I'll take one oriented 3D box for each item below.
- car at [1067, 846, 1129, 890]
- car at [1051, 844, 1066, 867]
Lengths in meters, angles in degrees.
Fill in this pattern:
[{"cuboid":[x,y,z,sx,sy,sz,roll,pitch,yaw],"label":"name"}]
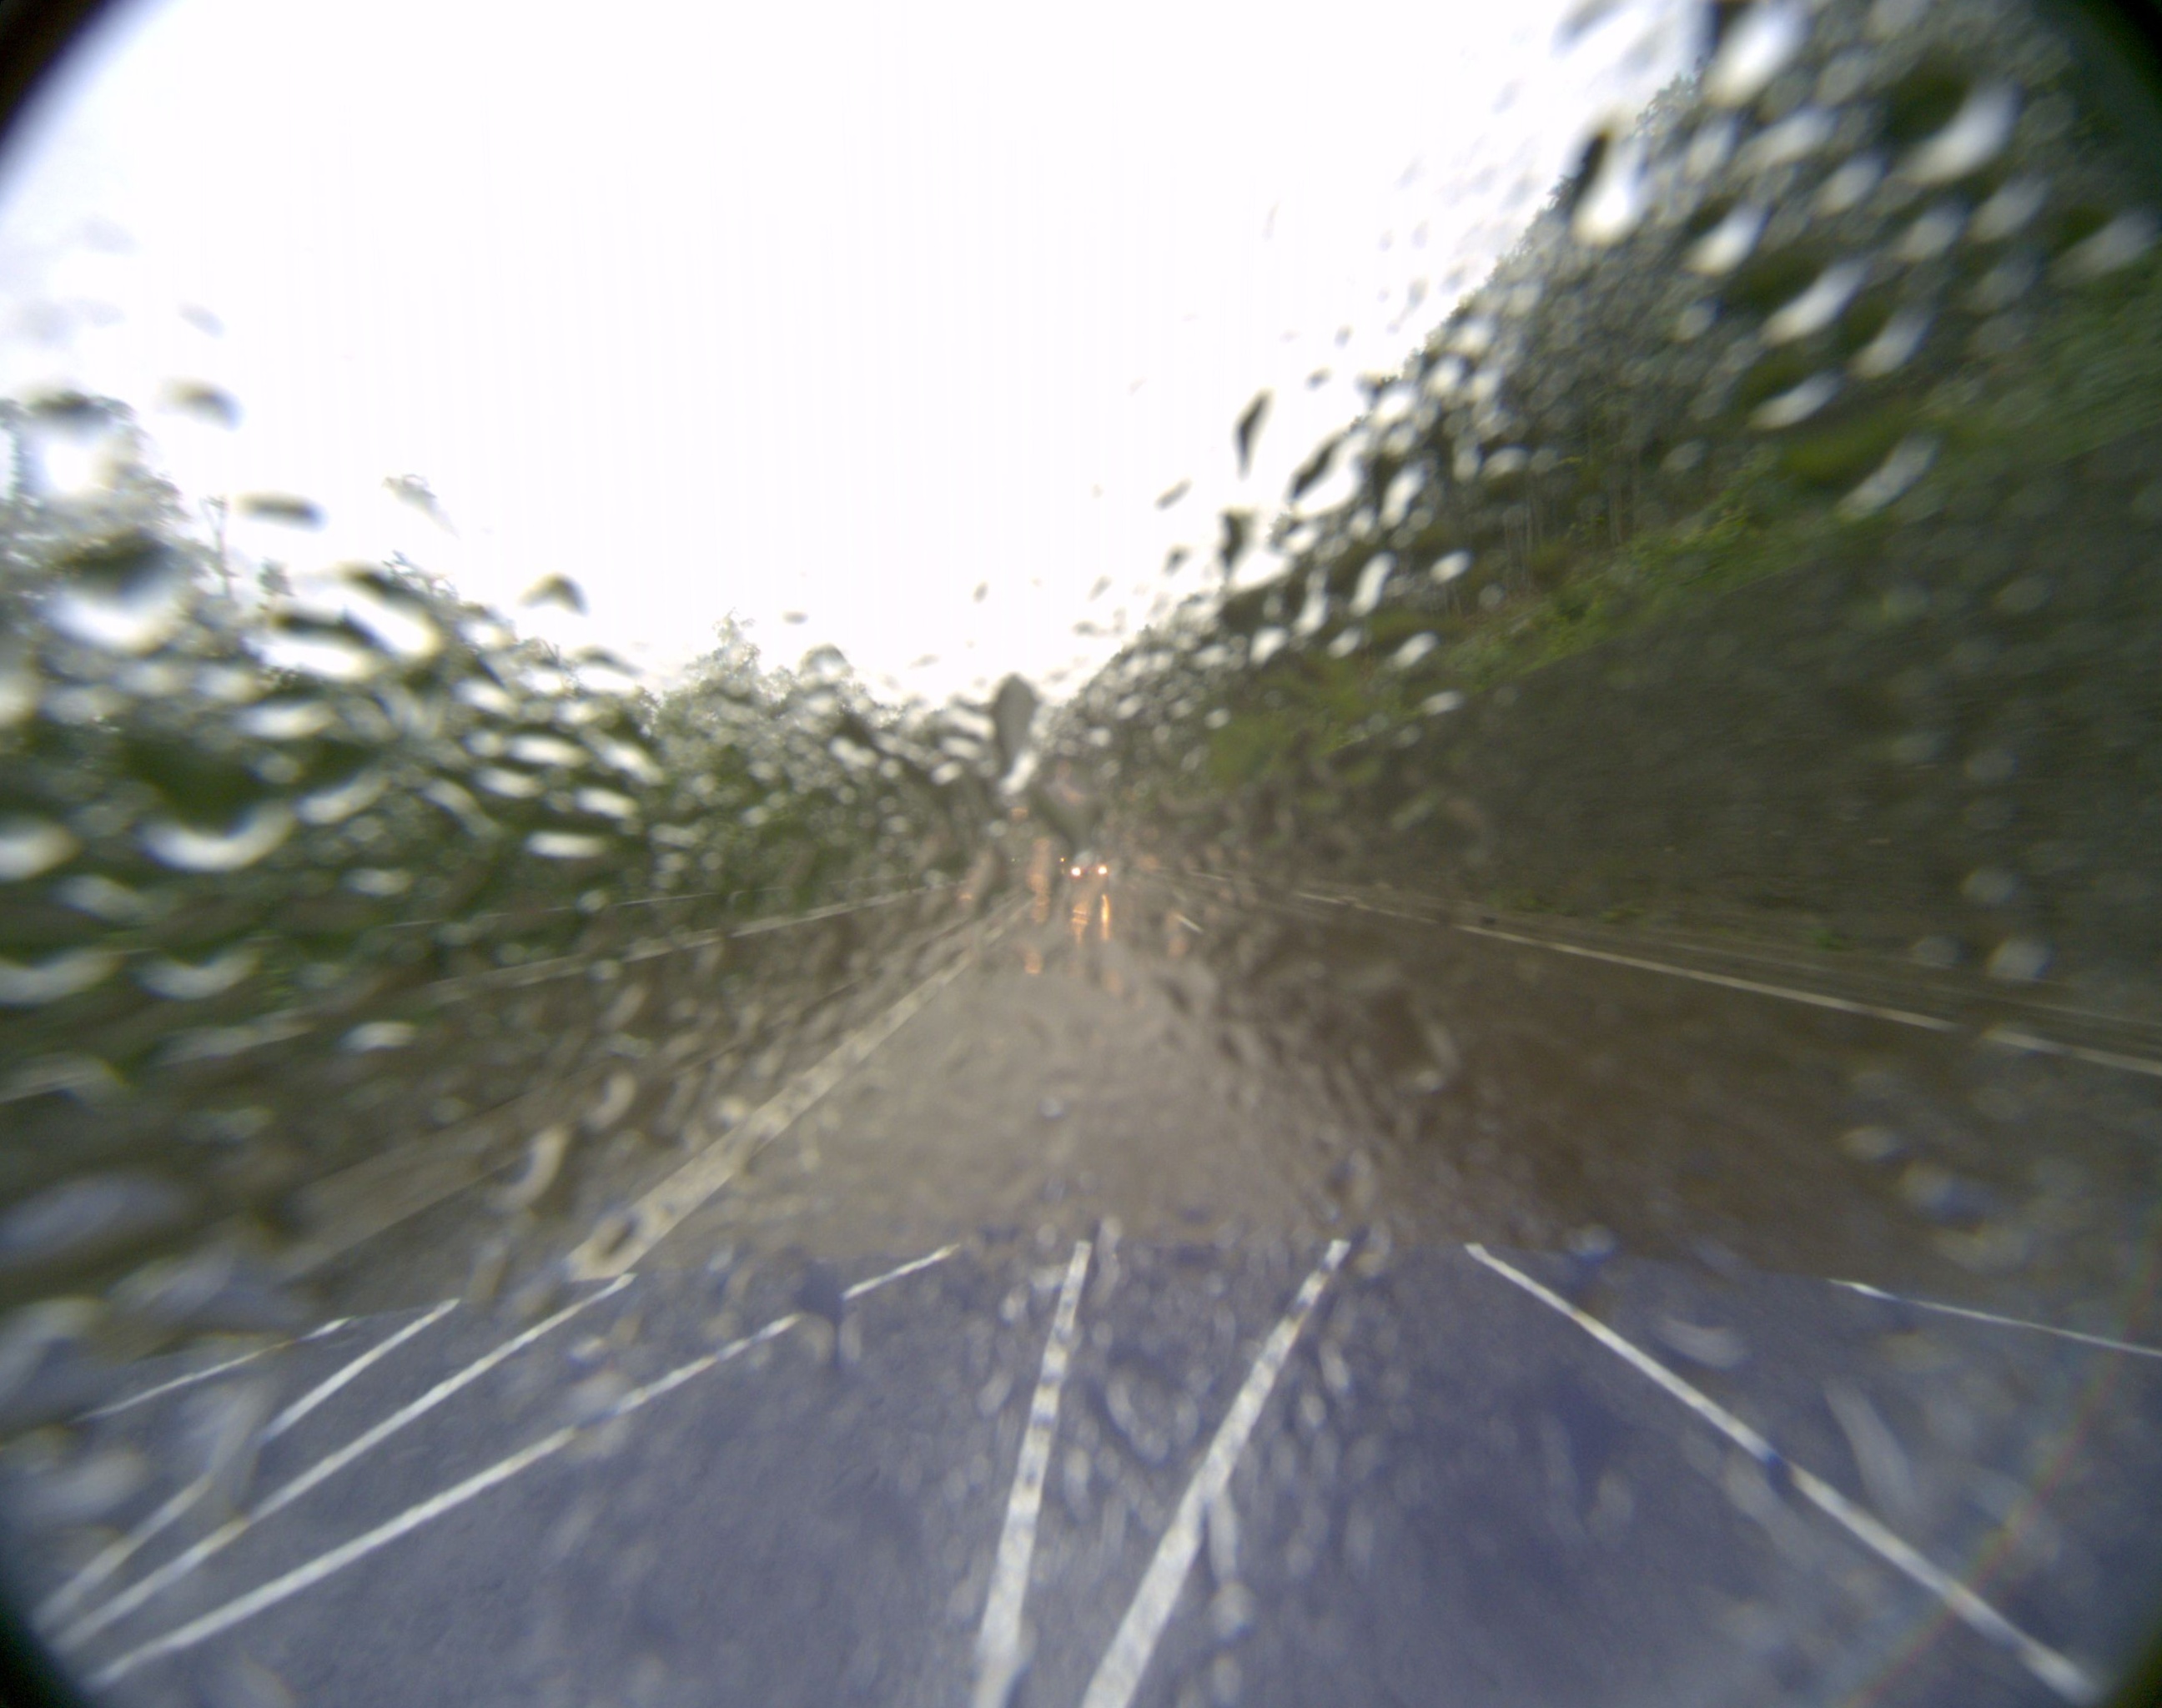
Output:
[{"cuboid":[0.670,0.527,32.920,2.360,1.549,5.498,-5,1,0],"label":"car"},{"cuboid":[-2.987,0.204,101.559,1.742,3.008,3.998,-2,1,-4],"label":"car"}]
